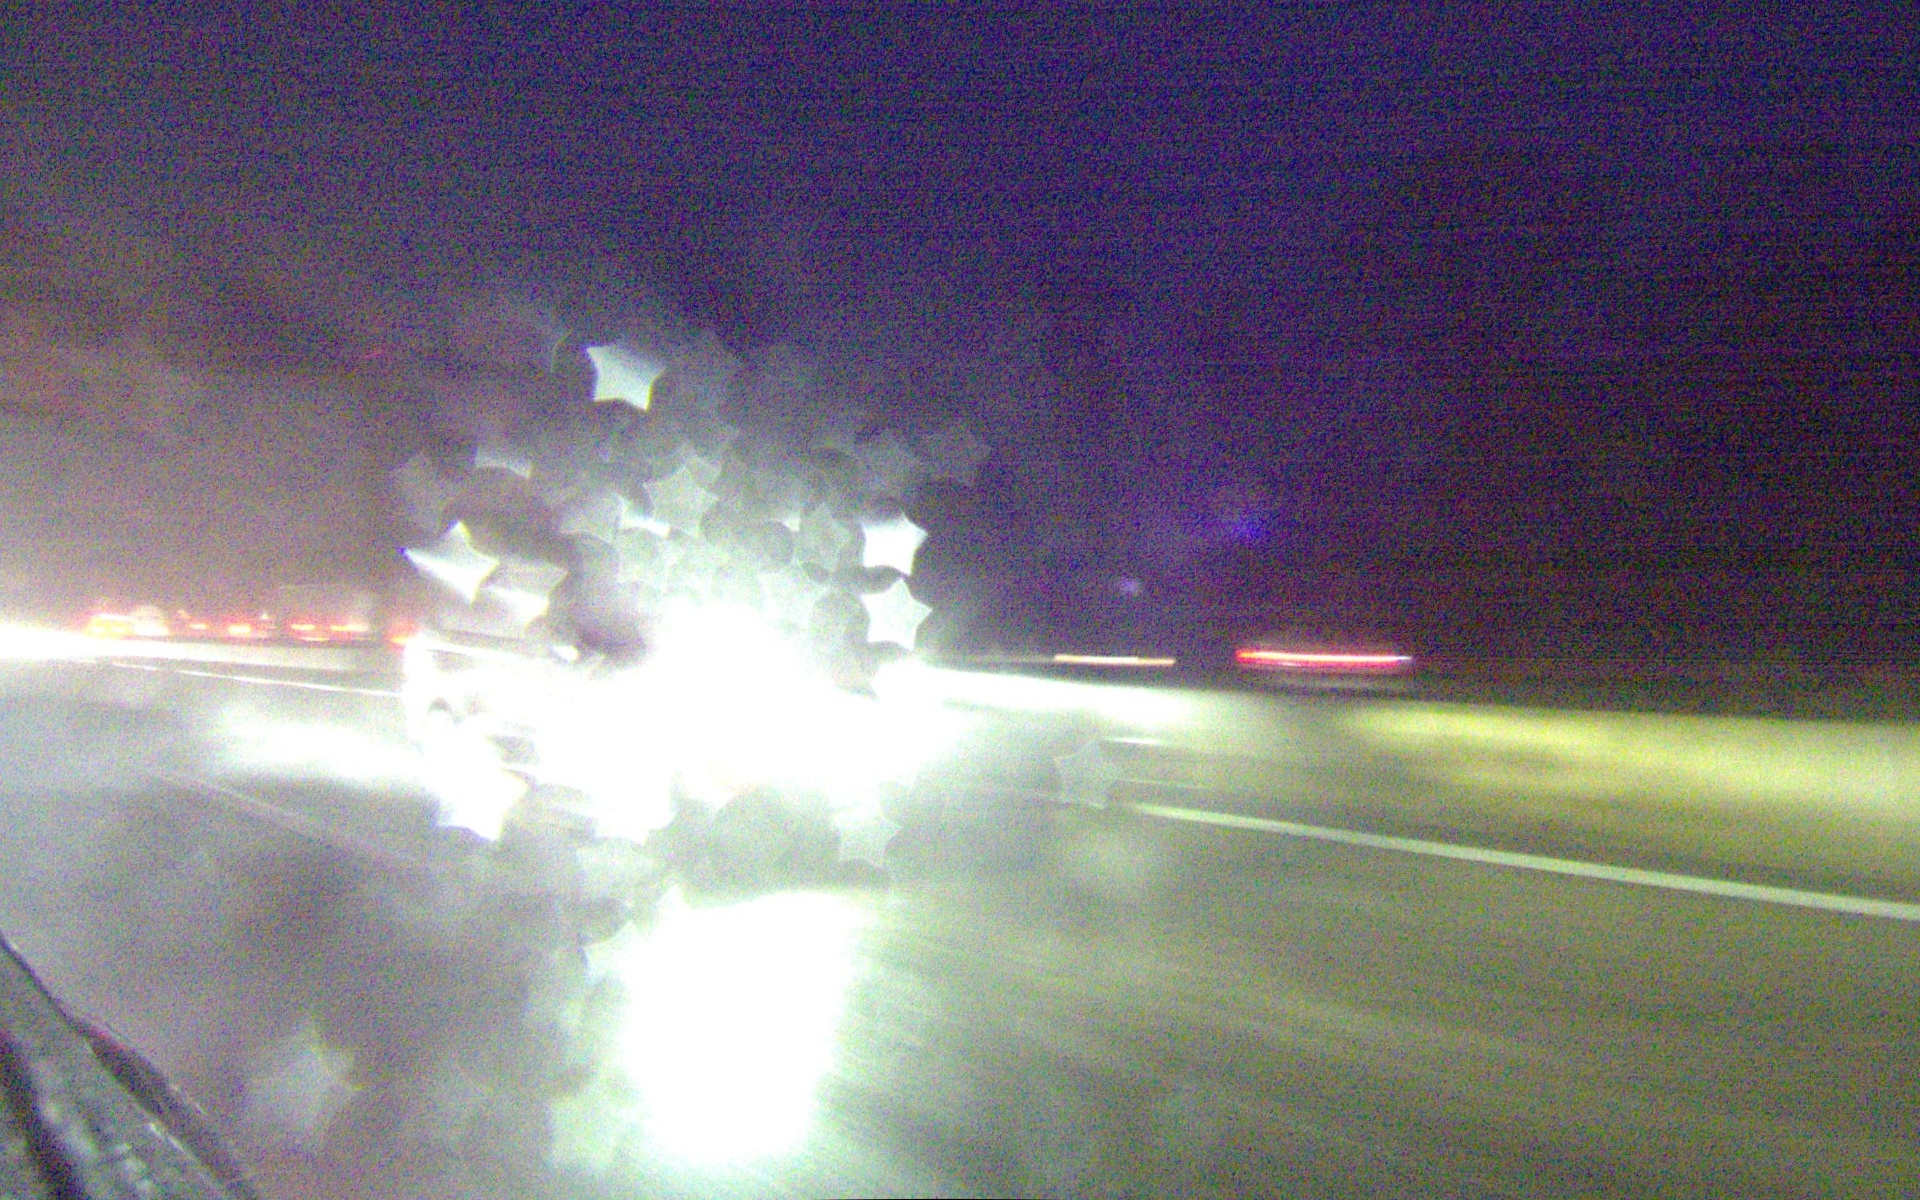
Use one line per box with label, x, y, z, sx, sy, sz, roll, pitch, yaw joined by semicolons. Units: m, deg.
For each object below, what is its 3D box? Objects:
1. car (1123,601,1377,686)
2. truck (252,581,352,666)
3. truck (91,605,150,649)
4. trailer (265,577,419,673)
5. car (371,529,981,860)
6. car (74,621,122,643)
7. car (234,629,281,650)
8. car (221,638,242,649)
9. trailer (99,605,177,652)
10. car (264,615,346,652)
car;5.061;0.729;17.923;3.995;1.354;1.636;-1;-1;38
truck;-40.200;1.432;61.697;7.571;4.886;2.893;-1;-3;40
truck;-74.820;2.385;90.188;6.447;3.788;2.669;0;-3;39
trailer;-35.483;1.383;57.679;14.570;4.886;2.893;0;-3;40
car;-2.645;0.571;8.413;5.550;1.899;2.115;0;-1;40
car;-65.669;2.424;77.076;4.590;1.611;1.973;0;-3;40
car;-57.032;3.206;82.105;4.590;1.611;1.973;0;-3;40
car;-96.610;5.762;134.239;3.553;1.294;1.470;-1;-1;41
trailer;-70.496;2.354;86.657;12.008;3.777;2.669;0;-3;39
car;-31.222;1.582;48.209;4.590;1.611;1.973;0;-3;40
